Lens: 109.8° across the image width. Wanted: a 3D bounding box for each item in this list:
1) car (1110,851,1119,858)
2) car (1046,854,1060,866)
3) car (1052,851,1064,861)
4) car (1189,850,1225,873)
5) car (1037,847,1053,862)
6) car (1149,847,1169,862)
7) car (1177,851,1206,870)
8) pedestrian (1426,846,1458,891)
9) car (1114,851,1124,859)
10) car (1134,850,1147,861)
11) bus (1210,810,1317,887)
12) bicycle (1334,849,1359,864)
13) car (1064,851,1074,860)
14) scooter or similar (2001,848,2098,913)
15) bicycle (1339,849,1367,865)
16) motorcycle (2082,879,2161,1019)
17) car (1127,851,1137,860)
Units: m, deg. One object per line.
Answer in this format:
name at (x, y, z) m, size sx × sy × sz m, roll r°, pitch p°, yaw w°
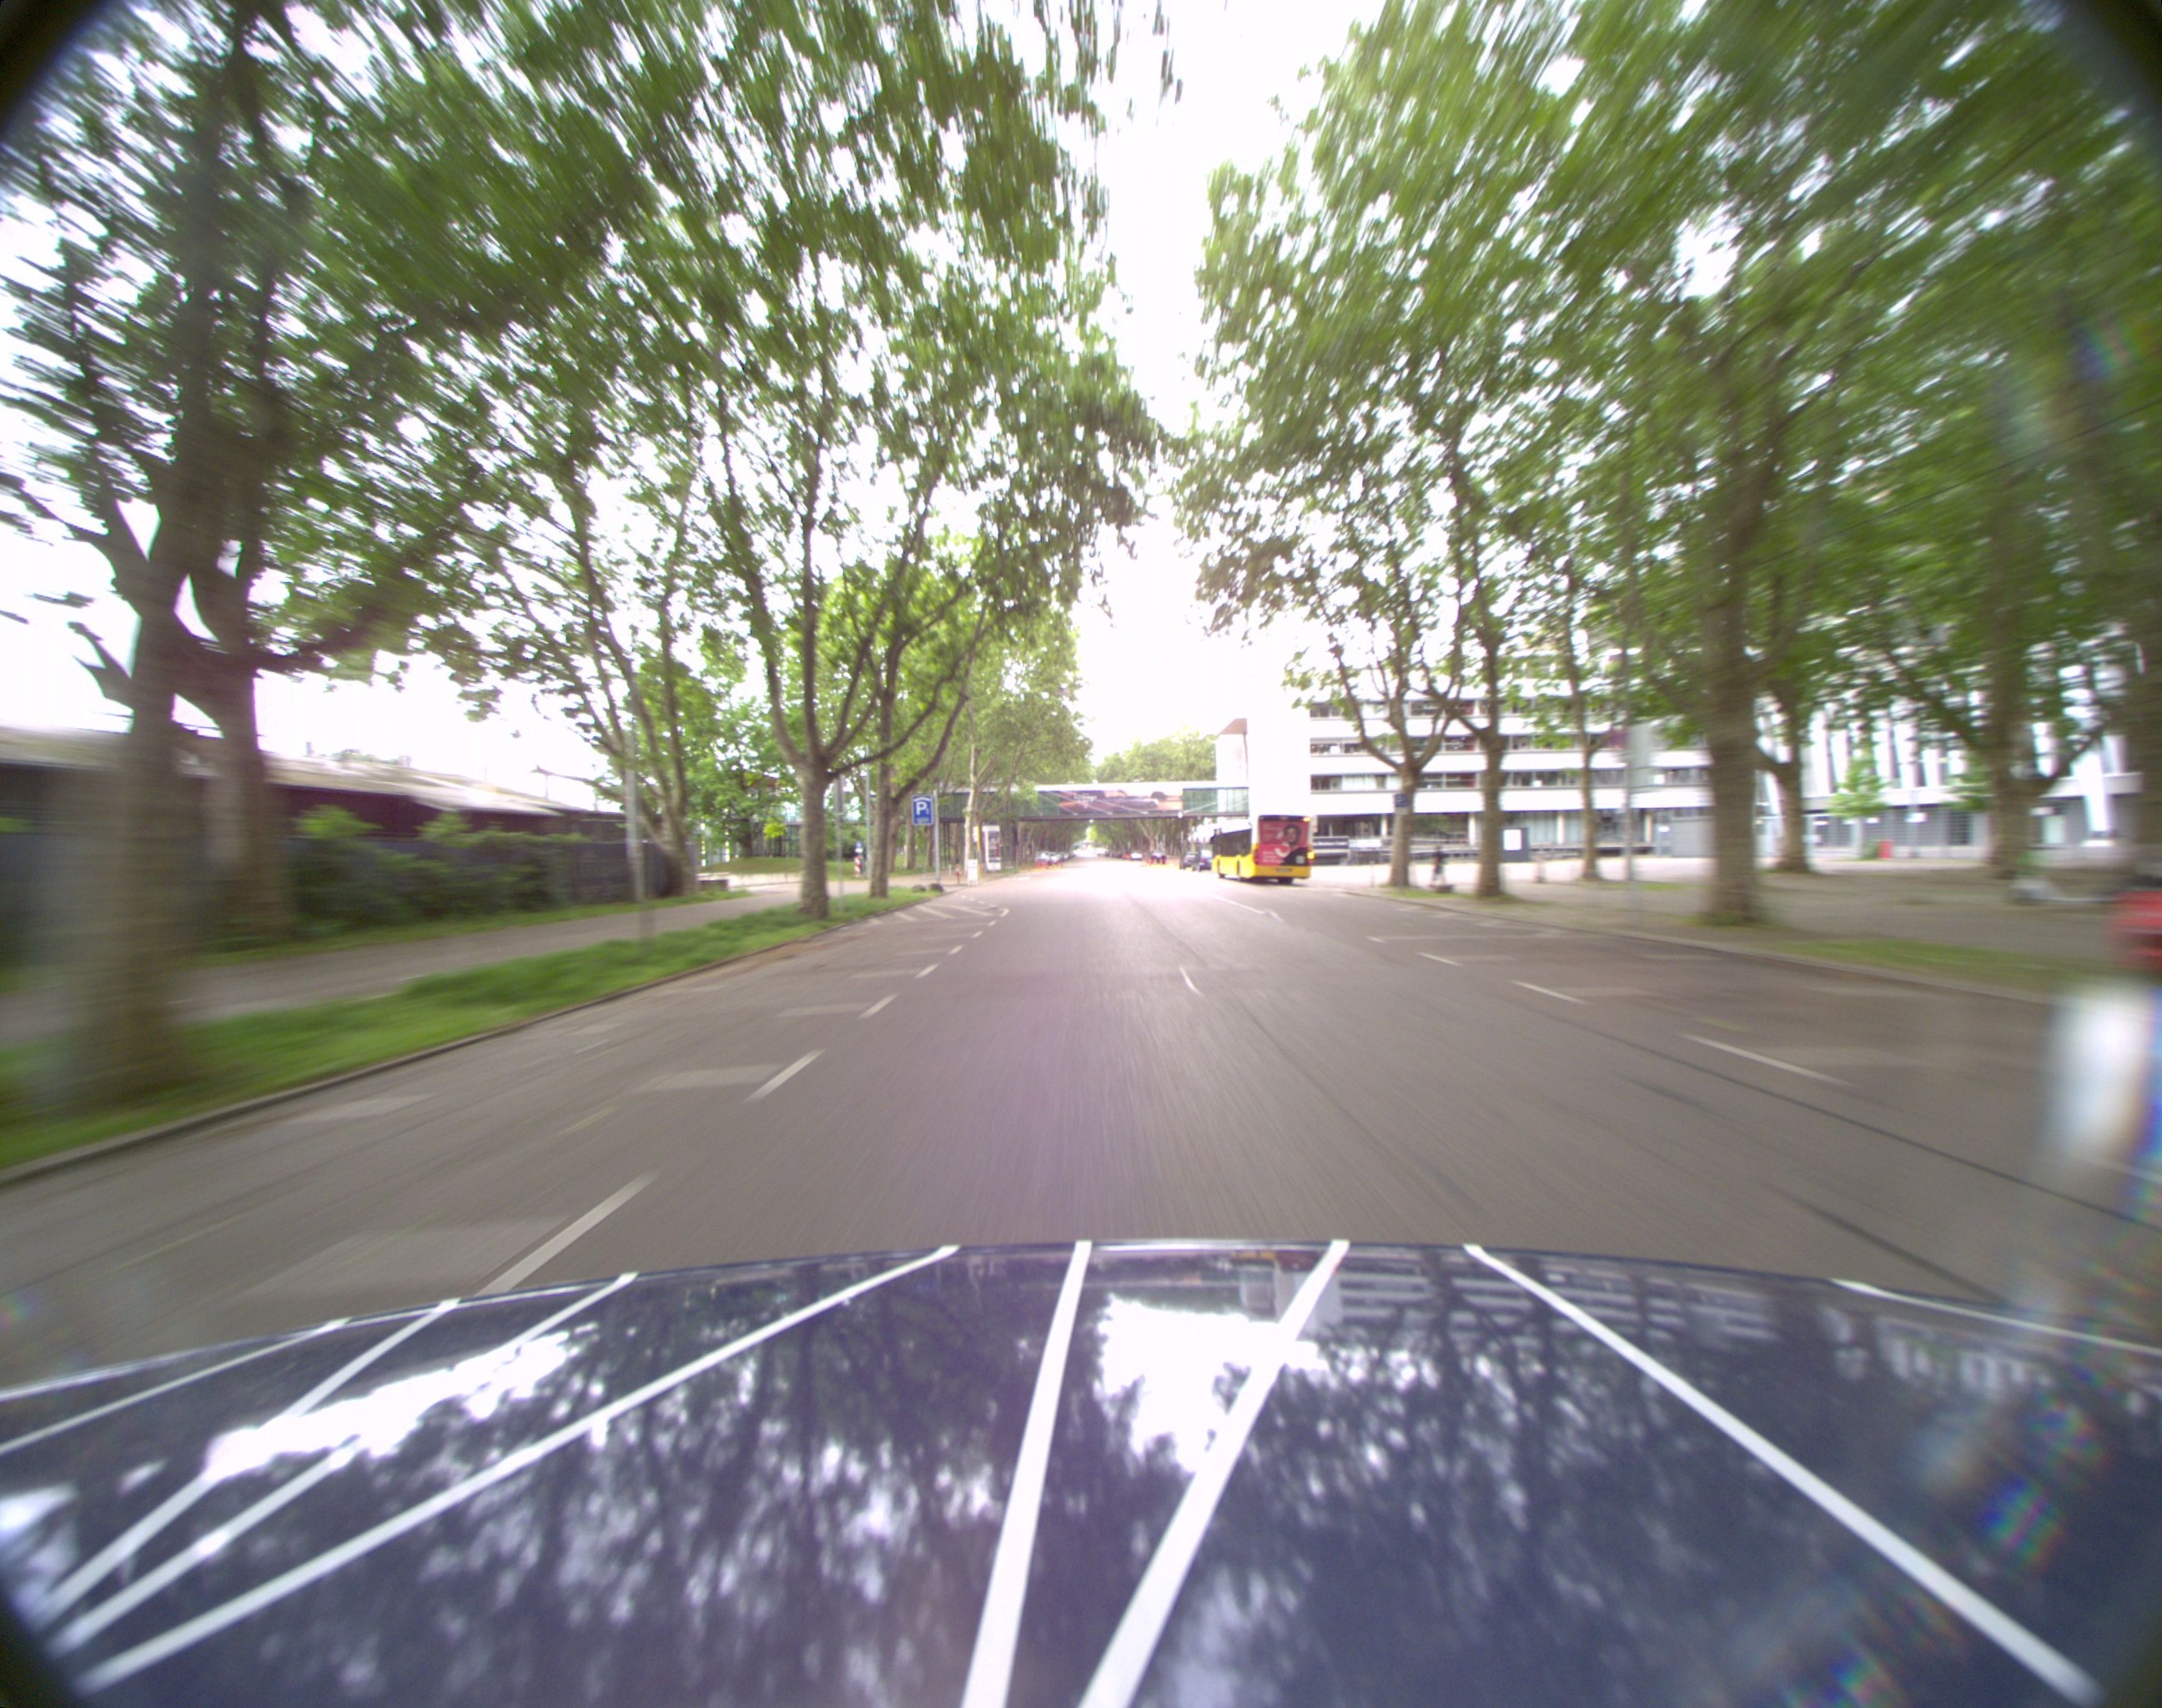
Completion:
car at (7.788, 0.121, 176.214) m, size 1.921 × 1.561 × 4.497 m, roll -1°, pitch 1°, yaw -1°
car at (-3.893, 0.879, 105.787) m, size 1.921 × 1.561 × 4.497 m, roll -1°, pitch 1°, yaw -1°
car at (-3.887, 0.321, 128.666) m, size 1.921 × 1.561 × 4.497 m, roll -1°, pitch 1°, yaw -1°
car at (9.198, 0.511, 55.716) m, size 1.758 × 1.557 × 4.386 m, roll 3°, pitch 1°, yaw -1°
car at (-4.180, 0.022, 89.340) m, size 1.757 × 1.687 × 4.497 m, roll -1°, pitch 1°, yaw -1°
car at (9.484, 0.014, 92.868) m, size 1.929 × 1.721 × 4.233 m, roll 2°, pitch 1°, yaw 0°
car at (9.340, 0.506, 64.482) m, size 1.758 × 1.505 × 4.009 m, roll 2°, pitch 1°, yaw 0°
pedestrian at (12.970, 0.515, 27.330) m, size 0.663 × 1.580 × 0.912 m, roll -2°, pitch 1°, yaw 0°
car at (8.165, 0.141, 164.506) m, size 1.921 × 1.561 × 4.497 m, roll -1°, pitch 1°, yaw -1°
car at (9.556, 0.227, 121.912) m, size 1.757 × 1.652 × 3.999 m, roll -2°, pitch 1°, yaw 1°
bus at (8.717, -0.299, 38.044) m, size 2.658 × 3.136 × 12.368 m, roll 1°, pitch 1°, yaw 2°
bicycle at (21.042, 0.194, 60.232) m, size 1.830 × 1.180 × 0.470 m, roll -3°, pitch 1°, yaw -2°
car at (-2.363, 0.279, 153.573) m, size 1.921 × 1.561 × 4.497 m, roll -1°, pitch 1°, yaw -1°
scooter or similar at (18.494, 0.498, 14.520) m, size 1.185 × 1.166 × 0.445 m, roll -2°, pitch 1°, yaw 5°
bicycle at (21.142, 0.207, 59.011) m, size 1.918 × 1.180 × 0.569 m, roll -3°, pitch 1°, yaw -2°
motorcycle at (10.635, 0.882, 7.502) m, size 0.573 × 1.151 × 2.081 m, roll -1°, pitch 1°, yaw 44°
car at (9.767, 0.233, 146.271) m, size 1.757 × 1.652 × 4.000 m, roll -2°, pitch 1°, yaw 3°
